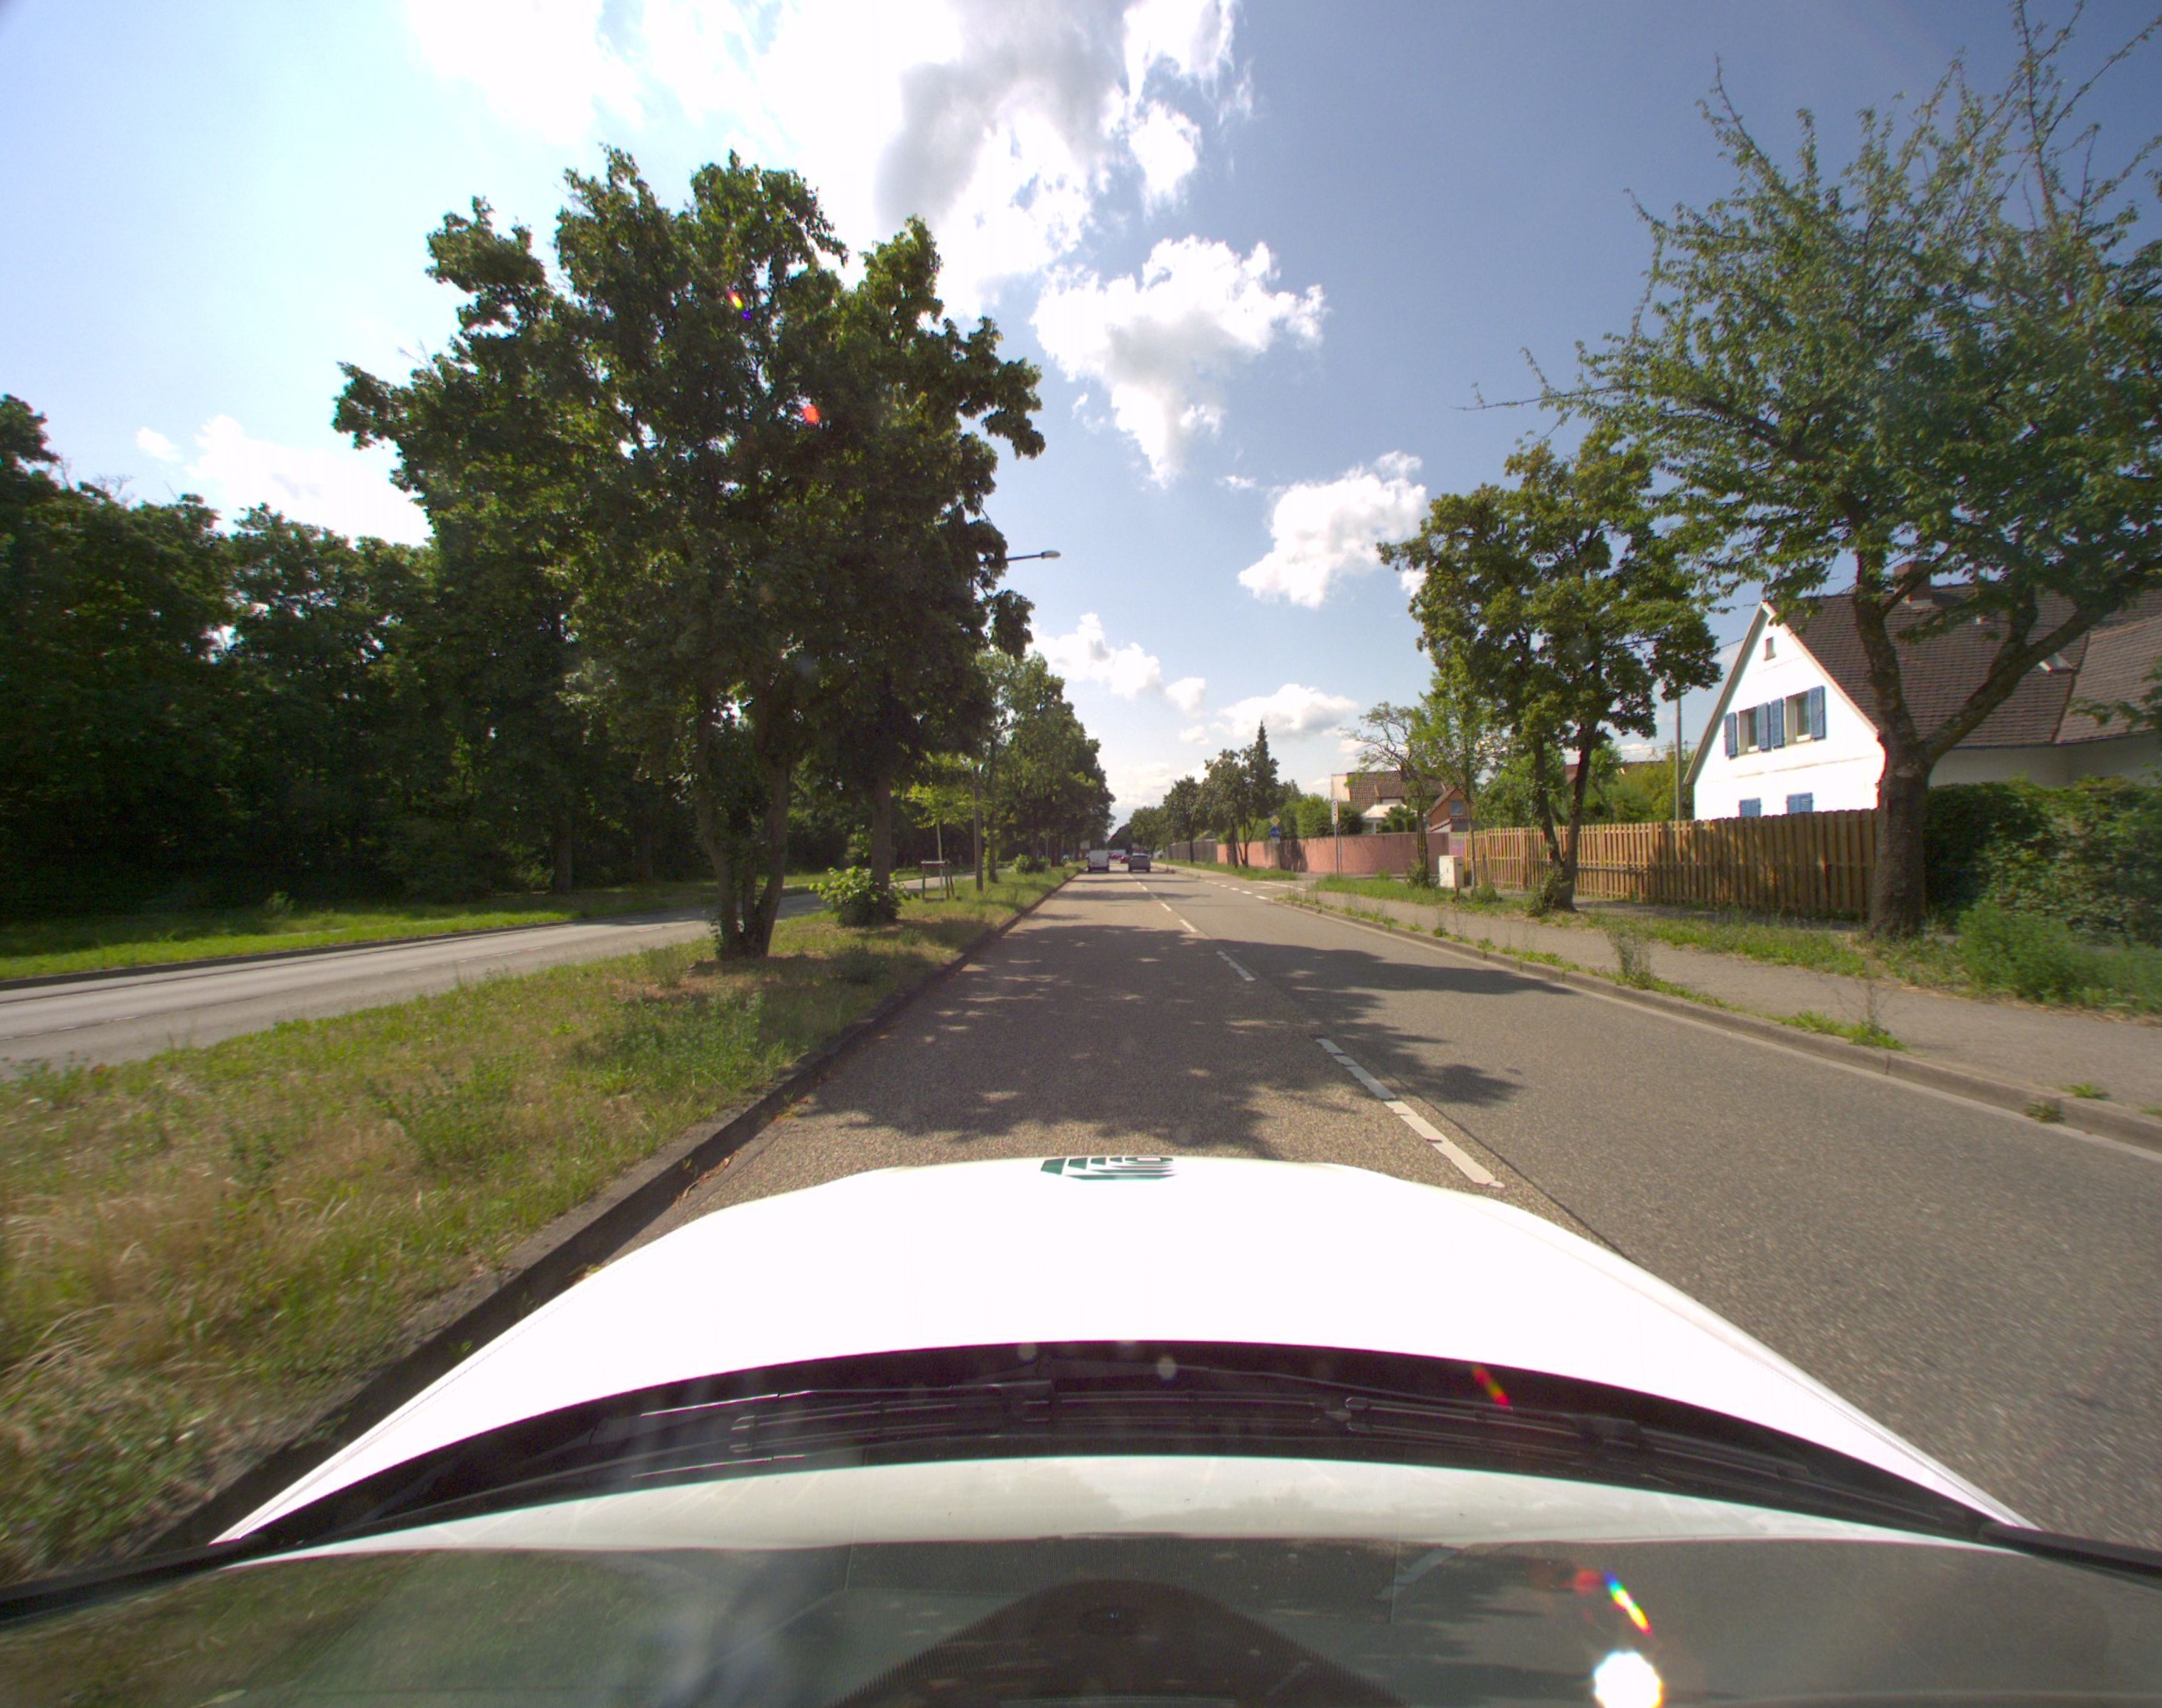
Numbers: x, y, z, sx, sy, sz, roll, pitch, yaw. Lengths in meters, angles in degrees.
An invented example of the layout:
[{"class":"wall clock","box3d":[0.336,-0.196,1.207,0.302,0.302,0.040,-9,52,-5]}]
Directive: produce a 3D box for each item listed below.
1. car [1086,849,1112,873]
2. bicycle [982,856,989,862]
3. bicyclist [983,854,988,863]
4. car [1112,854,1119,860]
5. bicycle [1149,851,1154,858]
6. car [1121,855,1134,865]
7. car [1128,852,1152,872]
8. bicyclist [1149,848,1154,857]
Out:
[{"class":"car","box3d":[1.506,0.525,68.048,2.058,1.912,4.648,-1,0,2]},{"class":"bicycle","box3d":[-14.636,0.777,125.085,0.615,0.878,1.917,-1,0,4]},{"class":"bicyclist","box3d":[-14.638,0.693,125.073,0.615,1.448,0.730,-1,0,4]},{"class":"car","box3d":[10.107,0.822,237.168,1.986,1.772,4.148,0,0,2]},{"class":"bicycle","box3d":[11.152,0.104,128.913,0.643,1.067,2.280,-3,0,3]},{"class":"car","box3d":[7.478,0.939,130.955,1.873,1.587,4.002,-1,0,2]},{"class":"car","box3d":[4.993,0.666,69.288,1.868,1.589,4.186,-1,0,2]},{"class":"bicyclist","box3d":[11.139,-0.218,128.941,0.652,1.412,0.987,-3,0,2]}]
